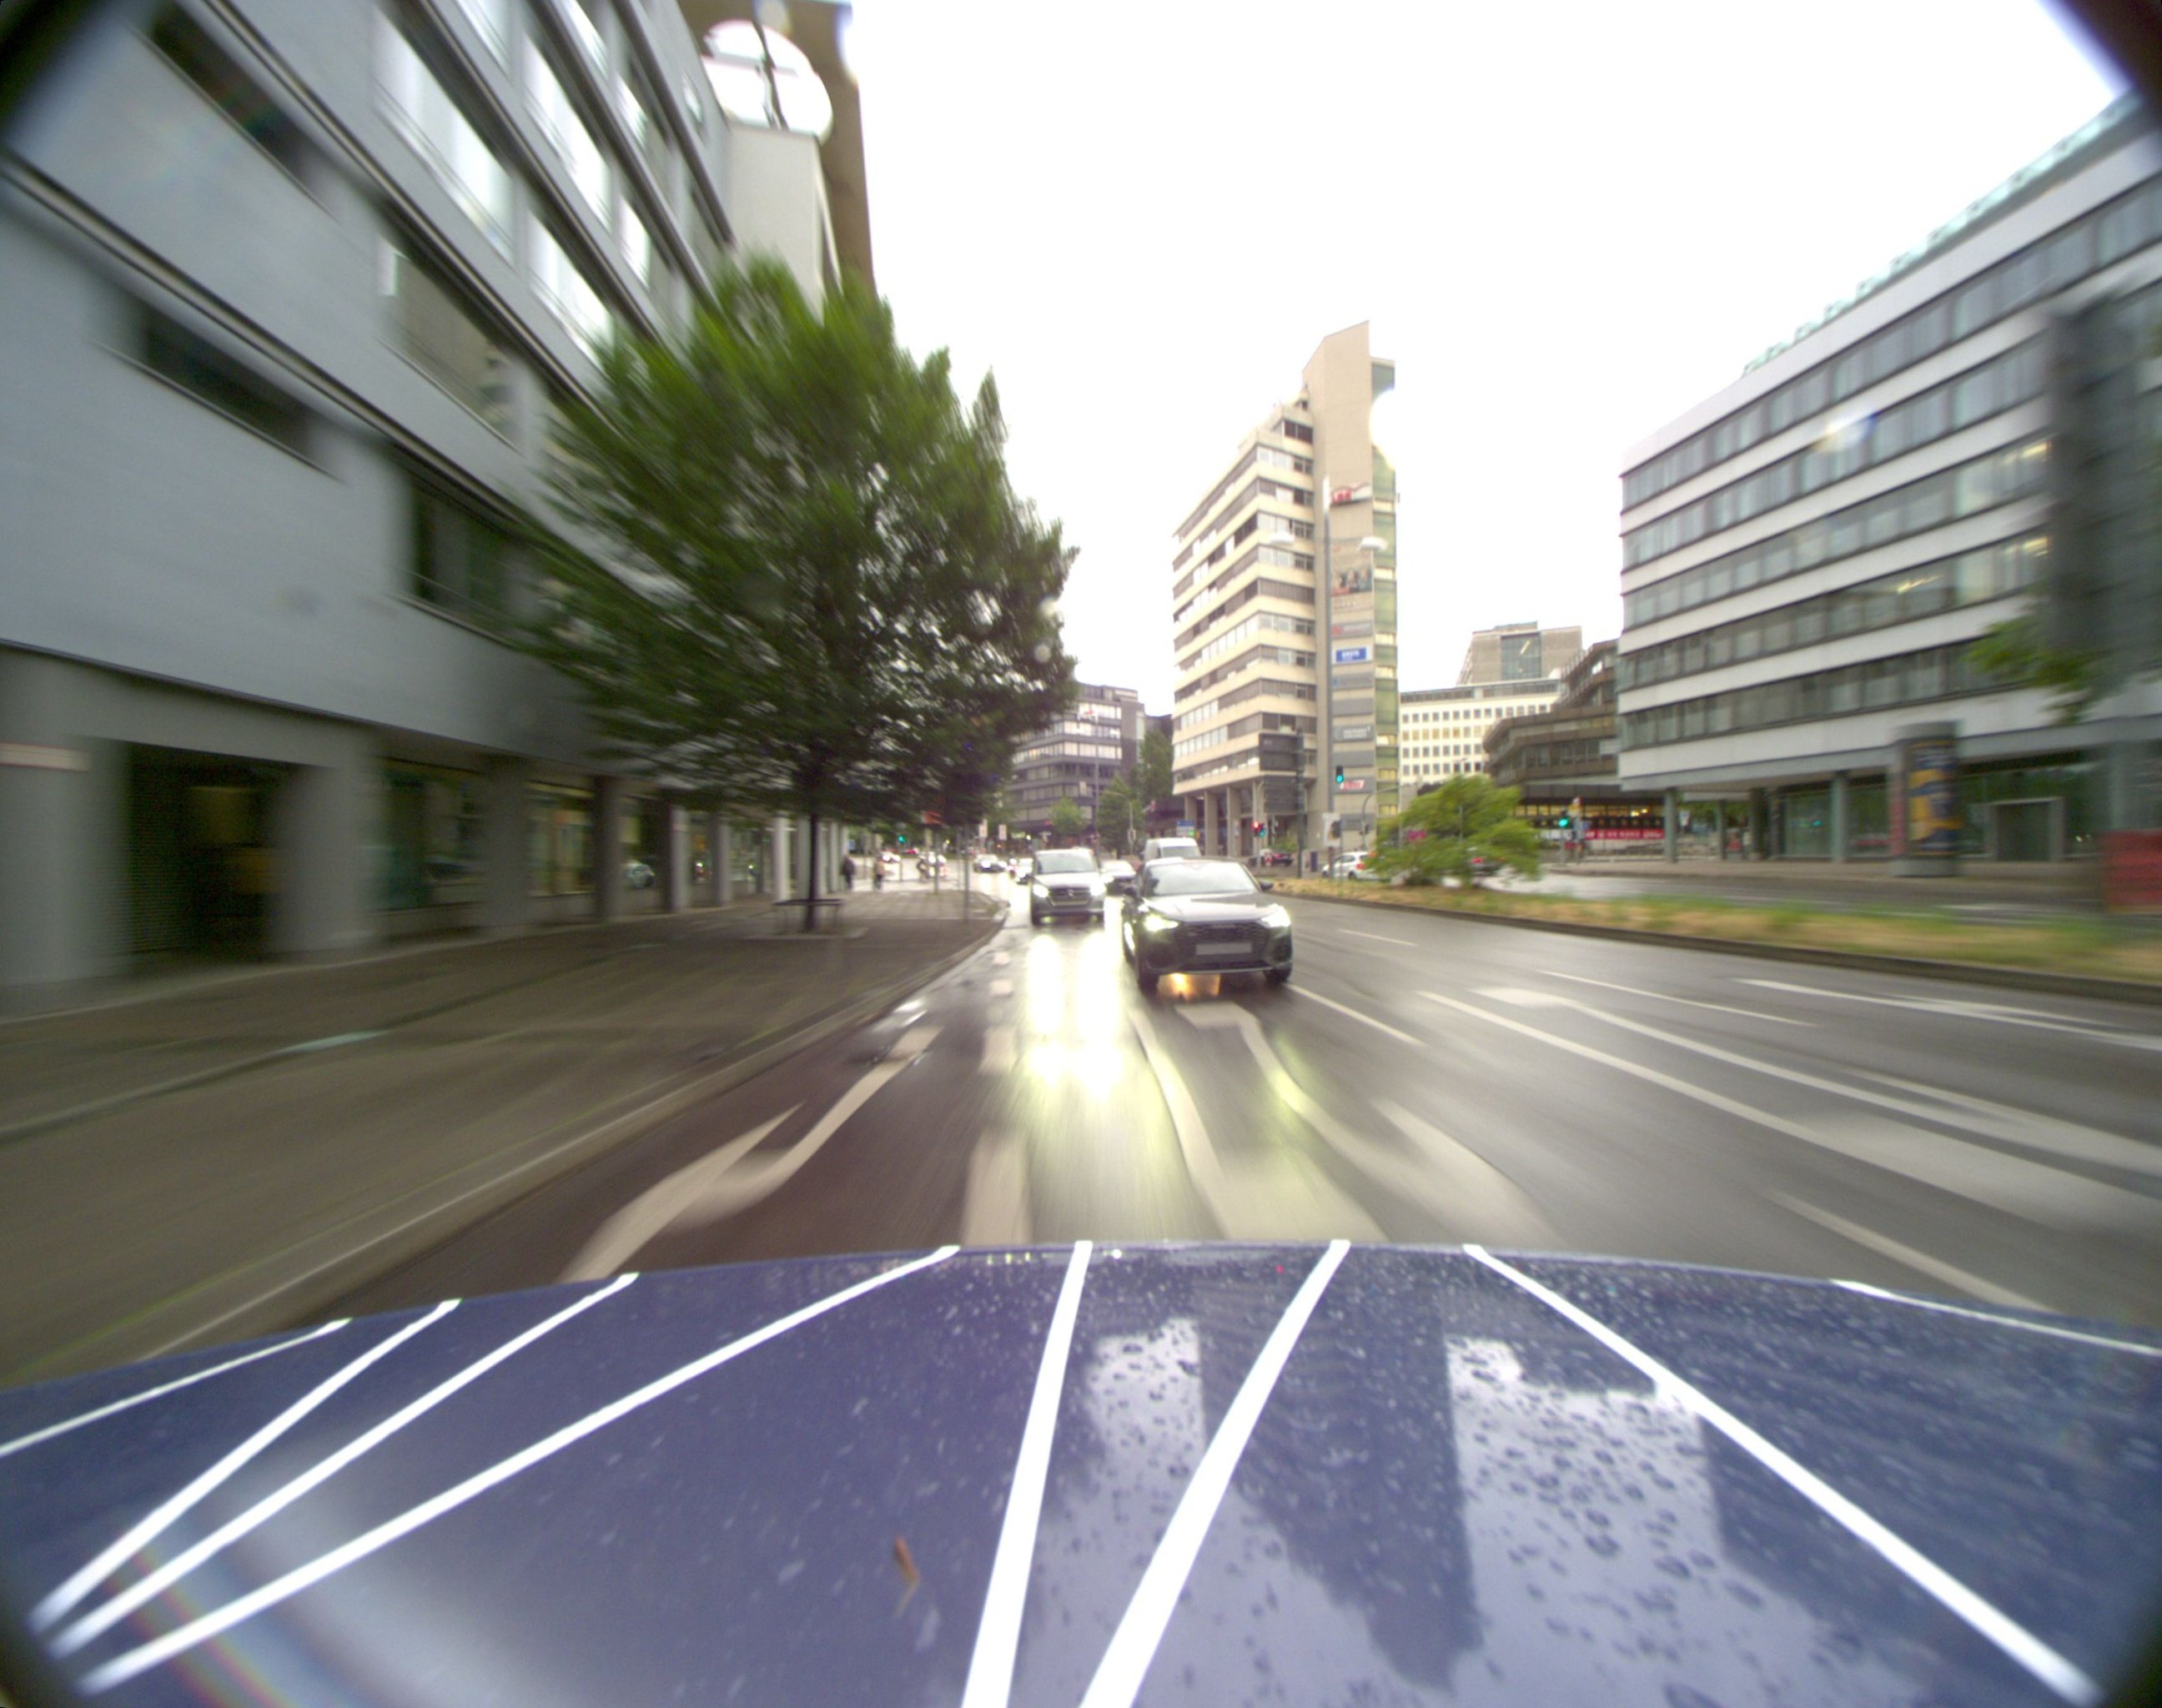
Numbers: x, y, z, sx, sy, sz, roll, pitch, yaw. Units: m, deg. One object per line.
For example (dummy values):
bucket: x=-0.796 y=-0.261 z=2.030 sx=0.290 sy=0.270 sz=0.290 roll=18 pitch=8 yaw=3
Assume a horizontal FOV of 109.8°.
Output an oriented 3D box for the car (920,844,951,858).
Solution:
car: x=-15.798 y=-0.325 z=82.217 sx=1.896 sy=1.478 sz=3.990 roll=-3 pitch=2 yaw=-33

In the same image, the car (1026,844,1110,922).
car: x=-0.429 y=0.697 z=21.828 sx=2.060 sy=1.881 sz=5.046 roll=-2 pitch=1 yaw=-2

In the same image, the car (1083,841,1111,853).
car: x=2.023 y=-0.957 z=99.212 sx=1.757 sy=1.508 sz=4.053 roll=-3 pitch=2 yaw=-30

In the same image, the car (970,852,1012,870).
car: x=-7.666 y=0.567 z=64.585 sx=1.896 sy=1.478 sz=3.989 roll=-3 pitch=2 yaw=-34

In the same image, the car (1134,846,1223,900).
car: x=3.008 y=0.527 z=24.305 sx=1.775 sy=1.470 sz=4.124 roll=-2 pitch=1 yaw=-7

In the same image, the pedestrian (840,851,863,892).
pedestrian: x=-10.327 y=0.785 z=34.282 sx=0.794 sy=1.772 sz=0.894 roll=-2 pitch=0 yaw=-7

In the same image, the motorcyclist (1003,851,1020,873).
motorcyclist: x=-5.105 y=0.581 z=55.594 sx=1.152 sy=1.502 sz=1.196 roll=-2 pitch=2 yaw=-5

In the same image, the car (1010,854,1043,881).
car: x=-3.320 y=0.811 z=46.887 sx=1.689 sy=1.478 sz=3.999 roll=-2 pitch=1 yaw=0

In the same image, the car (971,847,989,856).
car: x=-16.009 y=-0.394 z=120.542 sx=1.745 sy=1.456 sz=3.991 roll=-3 pitch=2 yaw=-24

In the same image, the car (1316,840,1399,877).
car: x=12.114 y=0.159 z=33.598 sx=1.757 sy=1.456 sz=3.967 roll=-2 pitch=1 yaw=-9

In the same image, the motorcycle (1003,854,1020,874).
motorcycle: x=-5.081 y=0.720 z=55.563 sx=1.130 sy=1.259 sz=3.372 roll=-2 pitch=1 yaw=-5

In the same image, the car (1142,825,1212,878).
car: x=4.671 y=-0.178 z=37.835 sx=2.260 sy=2.372 sz=5.716 roll=-2 pitch=1 yaw=-5

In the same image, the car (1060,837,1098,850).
car: x=-0.286 y=-1.328 z=96.481 sx=1.792 sy=1.509 sz=5.238 roll=-3 pitch=2 yaw=-39

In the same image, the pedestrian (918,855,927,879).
pedestrian: x=-10.946 y=0.902 z=52.328 sx=0.527 sy=1.589 sz=0.730 roll=-2 pitch=2 yaw=-10

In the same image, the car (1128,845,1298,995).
car: x=1.598 y=0.704 z=10.478 sx=1.801 sy=1.543 sz=4.388 roll=-2 pitch=1 yaw=4

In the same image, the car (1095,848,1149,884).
car: x=1.763 y=0.496 z=33.885 sx=1.905 sy=1.393 sz=4.239 roll=-2 pitch=1 yaw=-3

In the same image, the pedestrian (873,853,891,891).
pedestrian: x=-9.542 y=0.873 z=36.410 sx=0.641 sy=1.772 sz=0.880 roll=-2 pitch=0 yaw=-5

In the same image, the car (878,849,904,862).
car: x=-23.713 y=0.152 z=94.754 sx=1.896 sy=1.478 sz=3.990 roll=-3 pitch=2 yaw=-33

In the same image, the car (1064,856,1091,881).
car: x=-0.290 y=0.982 z=52.991 sx=1.785 sy=1.499 sz=3.998 roll=-2 pitch=1 yaw=-1

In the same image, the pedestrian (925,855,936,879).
pedestrian: x=-10.315 y=0.876 z=52.244 sx=0.654 sy=1.589 sz=1.057 roll=-2 pitch=2 yaw=-10

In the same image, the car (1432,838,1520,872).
car: x=20.685 y=0.068 z=40.038 sx=1.999 sy=1.608 sz=4.480 roll=-2 pitch=0 yaw=-5
